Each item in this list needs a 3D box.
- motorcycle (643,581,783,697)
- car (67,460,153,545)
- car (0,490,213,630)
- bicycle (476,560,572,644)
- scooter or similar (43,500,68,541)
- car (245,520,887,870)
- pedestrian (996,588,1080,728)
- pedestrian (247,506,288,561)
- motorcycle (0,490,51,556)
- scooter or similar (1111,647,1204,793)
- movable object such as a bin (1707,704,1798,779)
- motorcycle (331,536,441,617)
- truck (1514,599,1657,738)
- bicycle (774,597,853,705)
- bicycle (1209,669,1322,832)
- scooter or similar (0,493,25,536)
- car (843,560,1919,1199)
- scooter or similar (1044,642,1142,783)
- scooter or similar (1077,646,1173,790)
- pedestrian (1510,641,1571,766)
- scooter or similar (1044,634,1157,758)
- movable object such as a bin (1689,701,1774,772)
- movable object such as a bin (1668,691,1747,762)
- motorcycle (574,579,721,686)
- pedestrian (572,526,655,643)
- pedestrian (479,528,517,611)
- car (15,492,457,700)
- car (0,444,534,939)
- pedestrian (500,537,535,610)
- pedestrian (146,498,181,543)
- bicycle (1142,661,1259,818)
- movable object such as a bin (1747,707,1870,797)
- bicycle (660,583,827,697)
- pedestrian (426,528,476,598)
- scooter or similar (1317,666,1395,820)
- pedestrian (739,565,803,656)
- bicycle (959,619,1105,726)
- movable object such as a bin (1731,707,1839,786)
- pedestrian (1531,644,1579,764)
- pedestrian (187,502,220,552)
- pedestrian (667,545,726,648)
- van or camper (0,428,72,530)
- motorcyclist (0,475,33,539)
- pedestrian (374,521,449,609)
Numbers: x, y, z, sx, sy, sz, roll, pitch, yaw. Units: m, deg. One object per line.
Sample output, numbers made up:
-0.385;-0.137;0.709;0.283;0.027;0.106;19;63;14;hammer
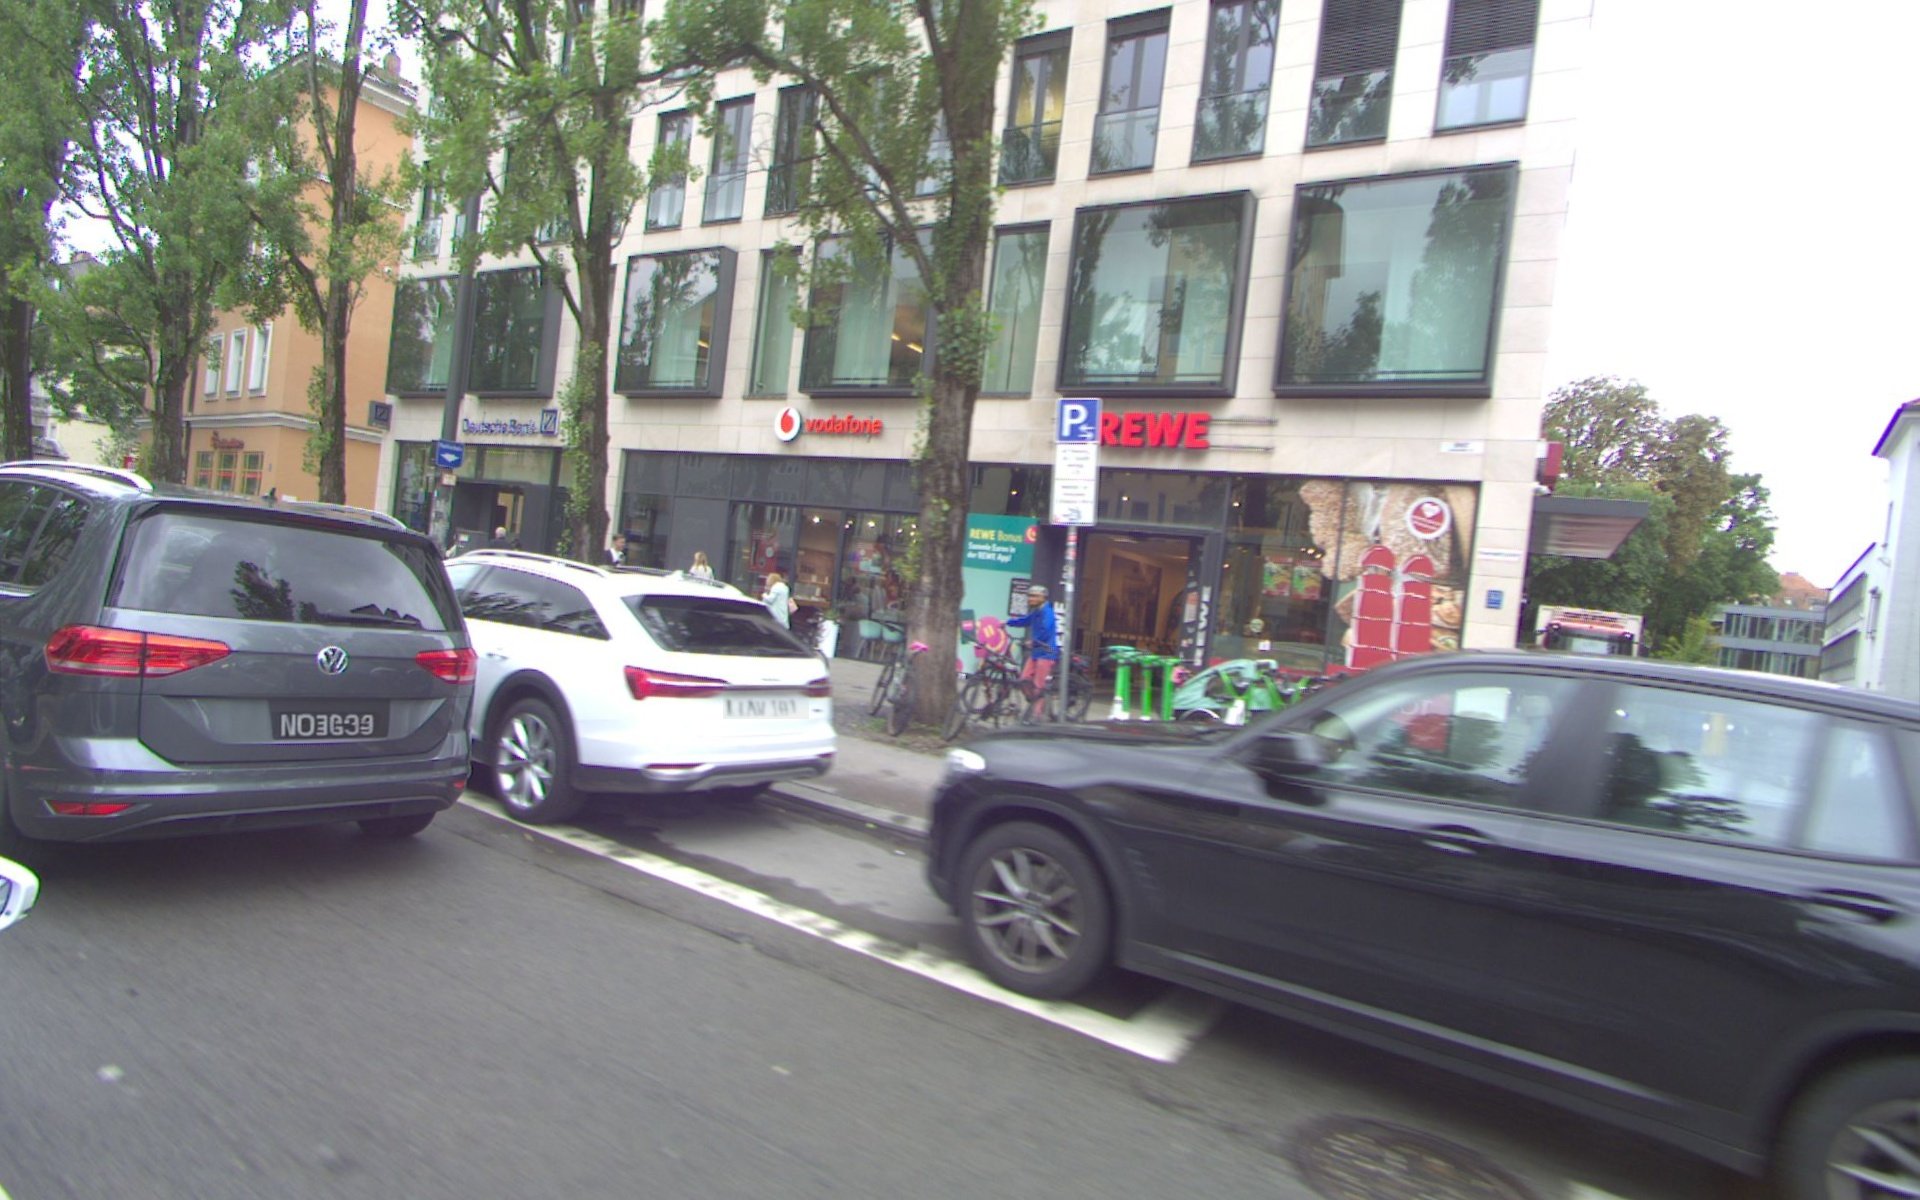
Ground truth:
-3.399;0.521;13.913;1.612;1.374;0.688;7;2;10;motorcycle
-27.812;-3.182;32.939;1.893;2.358;4.769;5;2;-41;car
-11.933;-0.620;13.348;4.354;1.446;1.848;7;0;34;car
-7.251;0.023;16.691;1.686;1.203;0.455;7;2;30;bicycle
-28.669;-2.526;31.898;0.483;1.249;1.154;3;3;-40;scooter or similar
-3.005;0.435;7.201;4.728;1.520;1.811;7;1;34;car
0.963;0.709;12.621;0.780;1.640;0.611;6;2;-6;pedestrian
-20.944;-2.004;30.426;0.701;1.571;0.606;7;2;10;pedestrian
-22.421;-1.861;23.784;2.216;1.388;0.826;7;2;34;motorcycle
1.849;1.063;9.281;0.306;1.216;1.436;7;1;28;scooter or similar
16.917;3.002;21.521;1.162;1.311;1.162;8;2;26;movable object such as a bin
-9.953;-0.389;17.530;0.627;1.267;1.973;6;1;1;motorcycle
18.607;2.002;30.287;2.585;3.495;5.564;7;1;25;truck
-1.916;0.628;12.981;0.540;1.205;1.446;6;1;-23;bicycle
2.700;1.254;8.798;0.526;1.223;1.480;7;1;29;bicycle
-29.521;-2.679;31.286;0.522;1.249;1.460;3;3;-40;scooter or similar
1.982;0.965;4.111;4.575;1.720;1.927;6;-1;33;car
1.293;1.032;9.567;0.306;1.216;1.436;7;1;28;scooter or similar
1.570;1.062;9.424;0.306;1.216;1.436;7;1;28;scooter or similar
8.571;1.517;14.866;0.460;1.773;0.427;7;1;4;pedestrian
1.577;1.046;11.122;0.545;1.226;1.384;7;1;35;scooter or similar
17.339;3.055;22.652;1.162;1.311;1.162;8;2;26;movable object such as a bin
18.071;3.043;24.373;1.162;1.453;1.162;8;2;26;movable object such as a bin
-4.083;0.413;13.181;1.612;1.171;0.688;7;1;10;motorcycle
-6.021;-0.265;17.500;0.923;1.893;0.817;7;2;34;pedestrian
-9.621;-0.642;20.928;0.545;1.658;0.554;6;1;-28;pedestrian
-7.480;-0.105;10.259;4.724;1.468;1.932;7;1;32;car
-4.312;0.173;5.172;4.115;1.633;1.763;7;0;33;car
-9.501;-0.570;21.597;0.498;1.510;0.543;6;1;-28;pedestrian
-31.052;-3.086;39.212;0.768;1.634;0.819;8;2;40;pedestrian
2.191;1.196;9.035;0.526;1.223;1.480;7;1;29;bicycle
15.883;2.814;18.885;1.368;1.335;1.110;8;2;26;movable object such as a bin
-2.531;0.449;11.763;1.738;1.076;0.643;7;2;20;bicycle
-12.884;-0.932;25.482;0.826;1.642;0.734;8;2;40;pedestrian
3.538;1.236;8.960;0.373;1.241;1.052;7;1;29;scooter or similar
-3.645;0.212;19.369;0.707;1.642;0.792;8;2;40;pedestrian
0.937;0.949;13.191;1.737;1.187;0.451;7;2;-7;bicycle
16.305;2.871;19.938;1.277;1.236;1.110;8;2;26;movable object such as a bin
9.120;1.579;15.410;0.420;1.773;0.467;7;2;34;pedestrian
-26.484;-2.565;35.213;0.727;1.647;0.795;5;2;-43;pedestrian
-4.854;-0.071;18.530;0.786;1.795;0.678;6;2;-25;pedestrian
-33.231;-4.274;35.078;4.645;3.152;2.458;7;2;38;van or camper
-22.475;-2.211;23.797;0.753;1.425;0.564;7;2;34;motorcyclist
-10.926;-0.690;20.058;0.922;1.597;0.835;7;2;30;pedestrian
